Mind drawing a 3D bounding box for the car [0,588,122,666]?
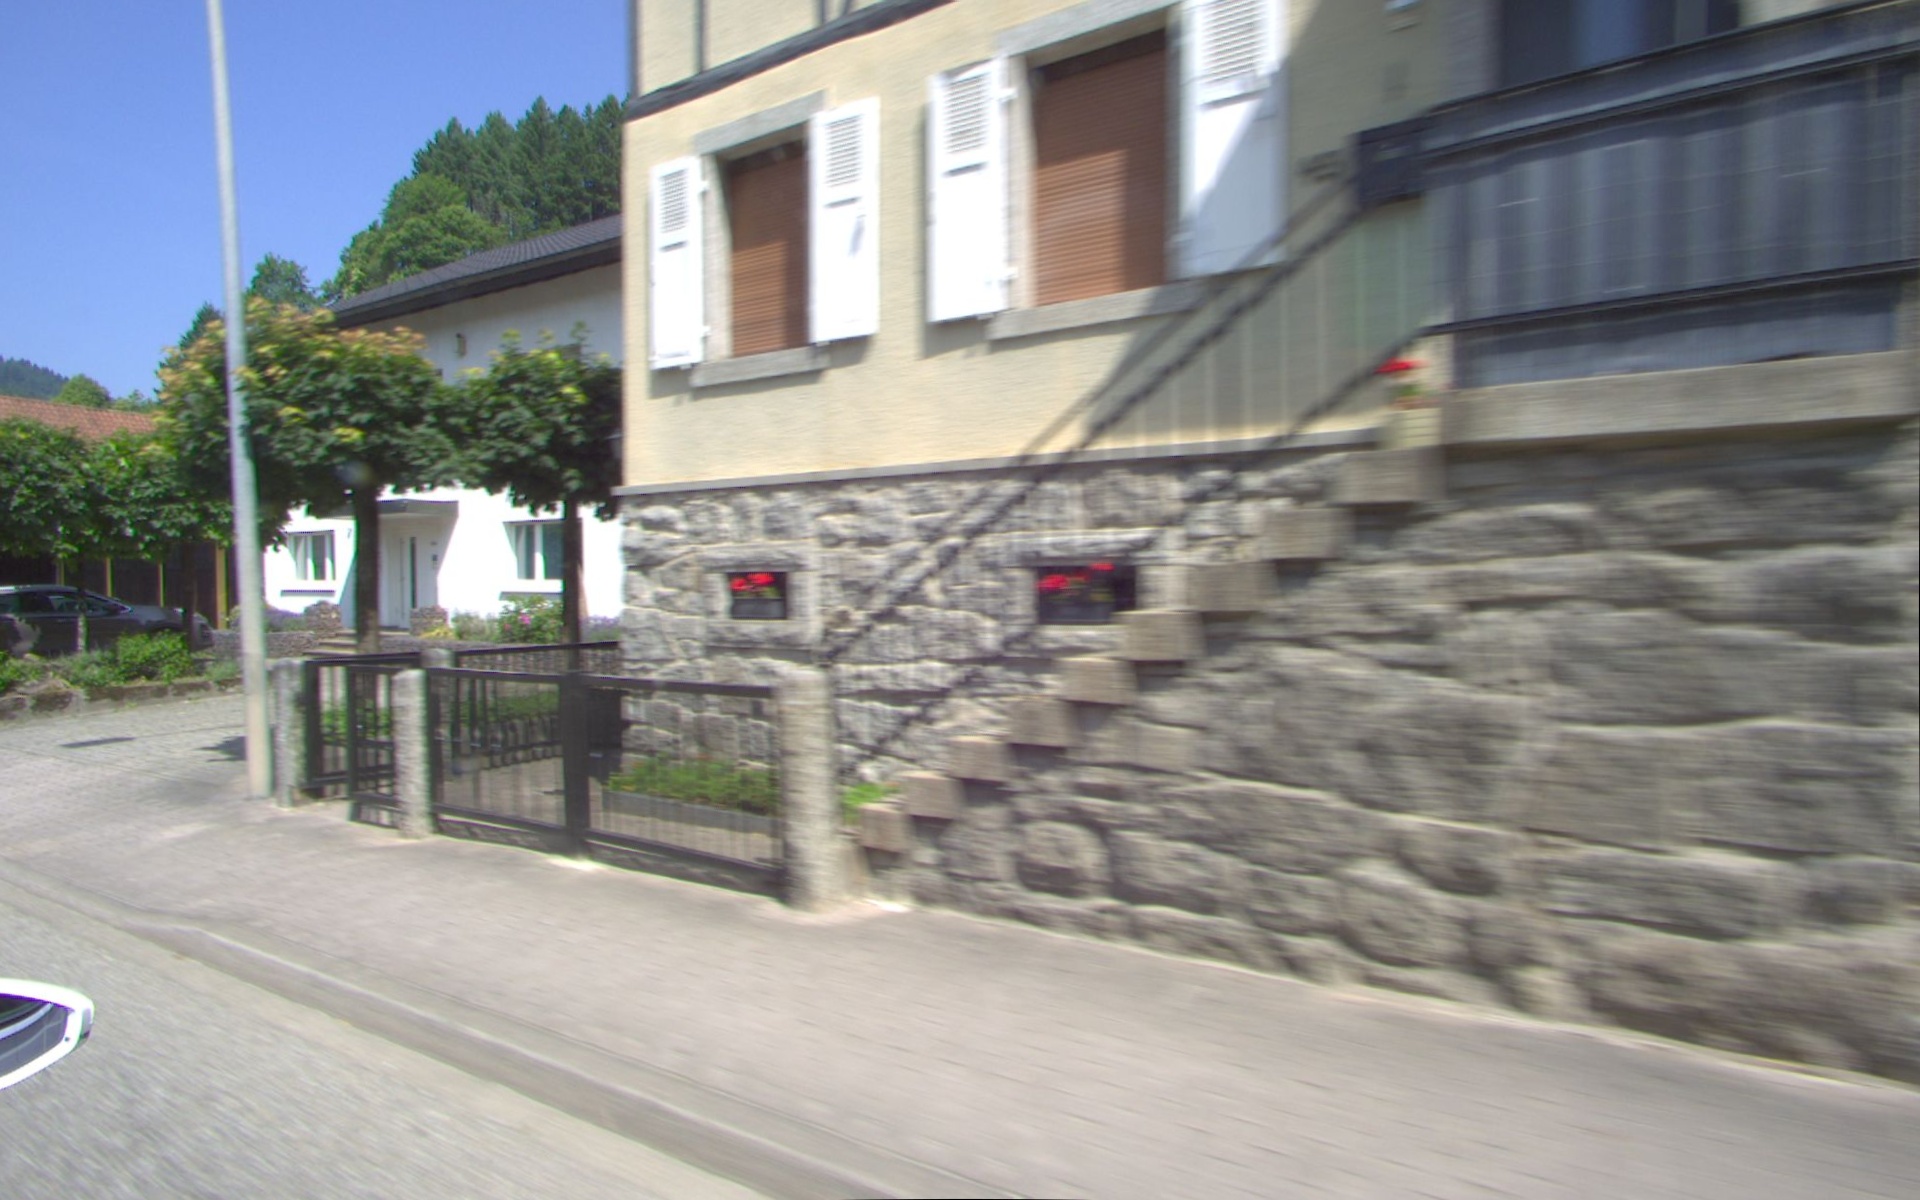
[{"bbox_3d":[-23.945,0.670,25.039,1.924,1.857,4.121,-1,1,28],"label":"car"}]

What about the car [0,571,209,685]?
[{"bbox_3d":[-16.397,0.502,17.973,1.753,1.711,4.203,0,5,35],"label":"car"}]
